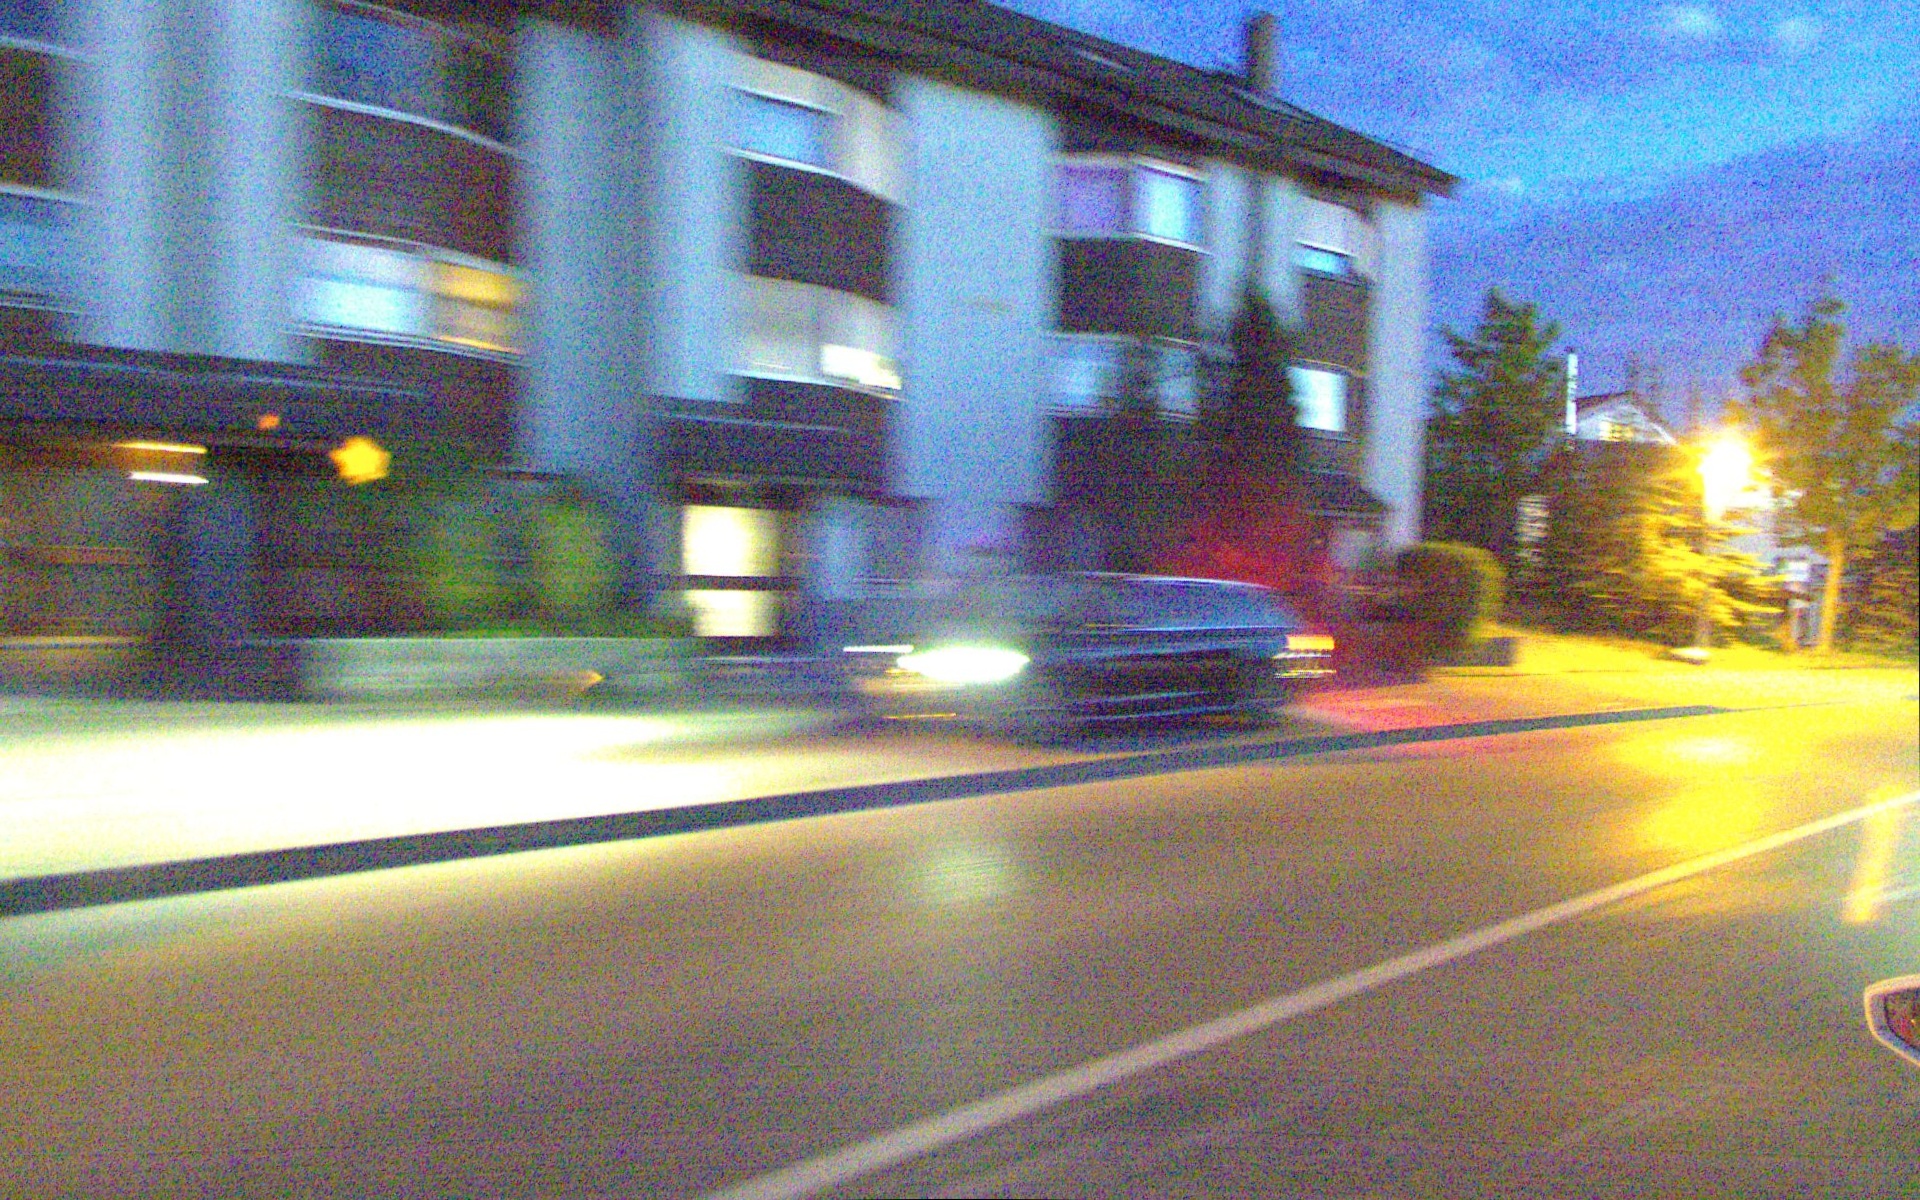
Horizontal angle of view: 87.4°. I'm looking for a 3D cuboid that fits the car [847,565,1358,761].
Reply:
[{"bbox_3d":[1.515,0.488,9.661,4.864,1.464,1.837,1,1,-34],"label":"car"}]
